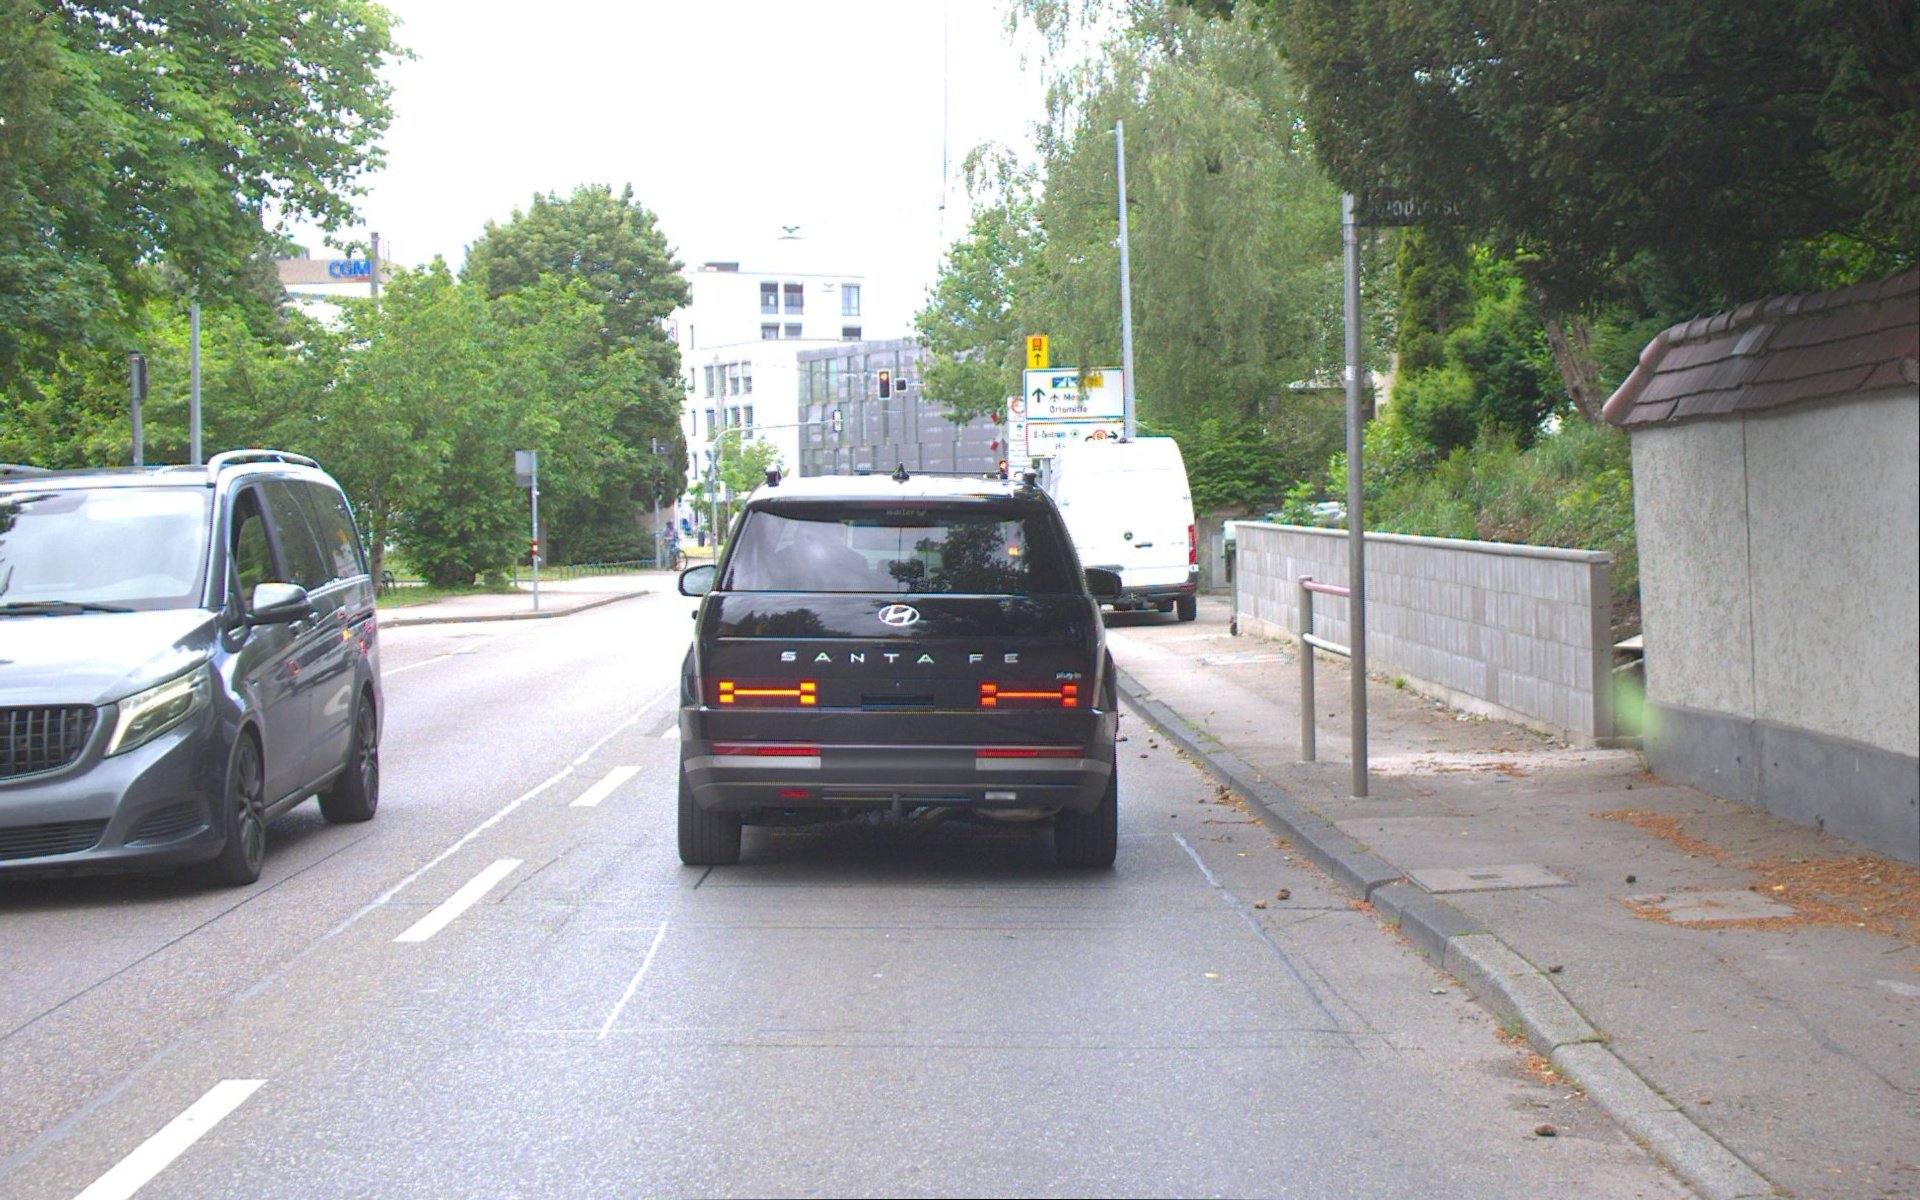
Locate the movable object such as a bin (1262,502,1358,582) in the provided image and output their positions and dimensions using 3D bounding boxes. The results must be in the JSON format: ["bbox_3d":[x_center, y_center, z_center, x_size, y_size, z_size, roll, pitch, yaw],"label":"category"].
[{"bbox_3d":[6.496,-1.085,63.995,1.449,1.468,1.718,0,1,-6],"label":"movable object such as a bin"}]

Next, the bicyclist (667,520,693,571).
[{"bbox_3d":[-9.187,-1.794,112.723,0.675,1.653,0.859,1,0,-14],"label":"bicyclist"}]

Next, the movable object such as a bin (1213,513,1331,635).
[{"bbox_3d":[3.813,-0.325,42.107,1.299,1.445,1.181,-2,1,0],"label":"movable object such as a bin"}]

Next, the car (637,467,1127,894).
[{"bbox_3d":[-0.327,0.278,15.894,1.963,1.705,4.000,1,1,0],"label":"car"}]

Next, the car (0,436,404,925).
[{"bbox_3d":[-3.936,0.294,15.954,1.890,1.849,5.084,-4,1,-1],"label":"car"}]

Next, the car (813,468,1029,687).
[{"bbox_3d":[-0.403,-0.253,33.588,1.963,1.994,4.000,1,1,-1],"label":"car"}]

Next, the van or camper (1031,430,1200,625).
[{"bbox_3d":[2.227,-1.088,50.964,1.963,2.619,6.359,-3,1,-1],"label":"van or camper"}]

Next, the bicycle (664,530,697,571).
[{"bbox_3d":[-9.165,-1.608,112.646,0.675,1.275,2.502,1,0,-14],"label":"bicycle"}]
